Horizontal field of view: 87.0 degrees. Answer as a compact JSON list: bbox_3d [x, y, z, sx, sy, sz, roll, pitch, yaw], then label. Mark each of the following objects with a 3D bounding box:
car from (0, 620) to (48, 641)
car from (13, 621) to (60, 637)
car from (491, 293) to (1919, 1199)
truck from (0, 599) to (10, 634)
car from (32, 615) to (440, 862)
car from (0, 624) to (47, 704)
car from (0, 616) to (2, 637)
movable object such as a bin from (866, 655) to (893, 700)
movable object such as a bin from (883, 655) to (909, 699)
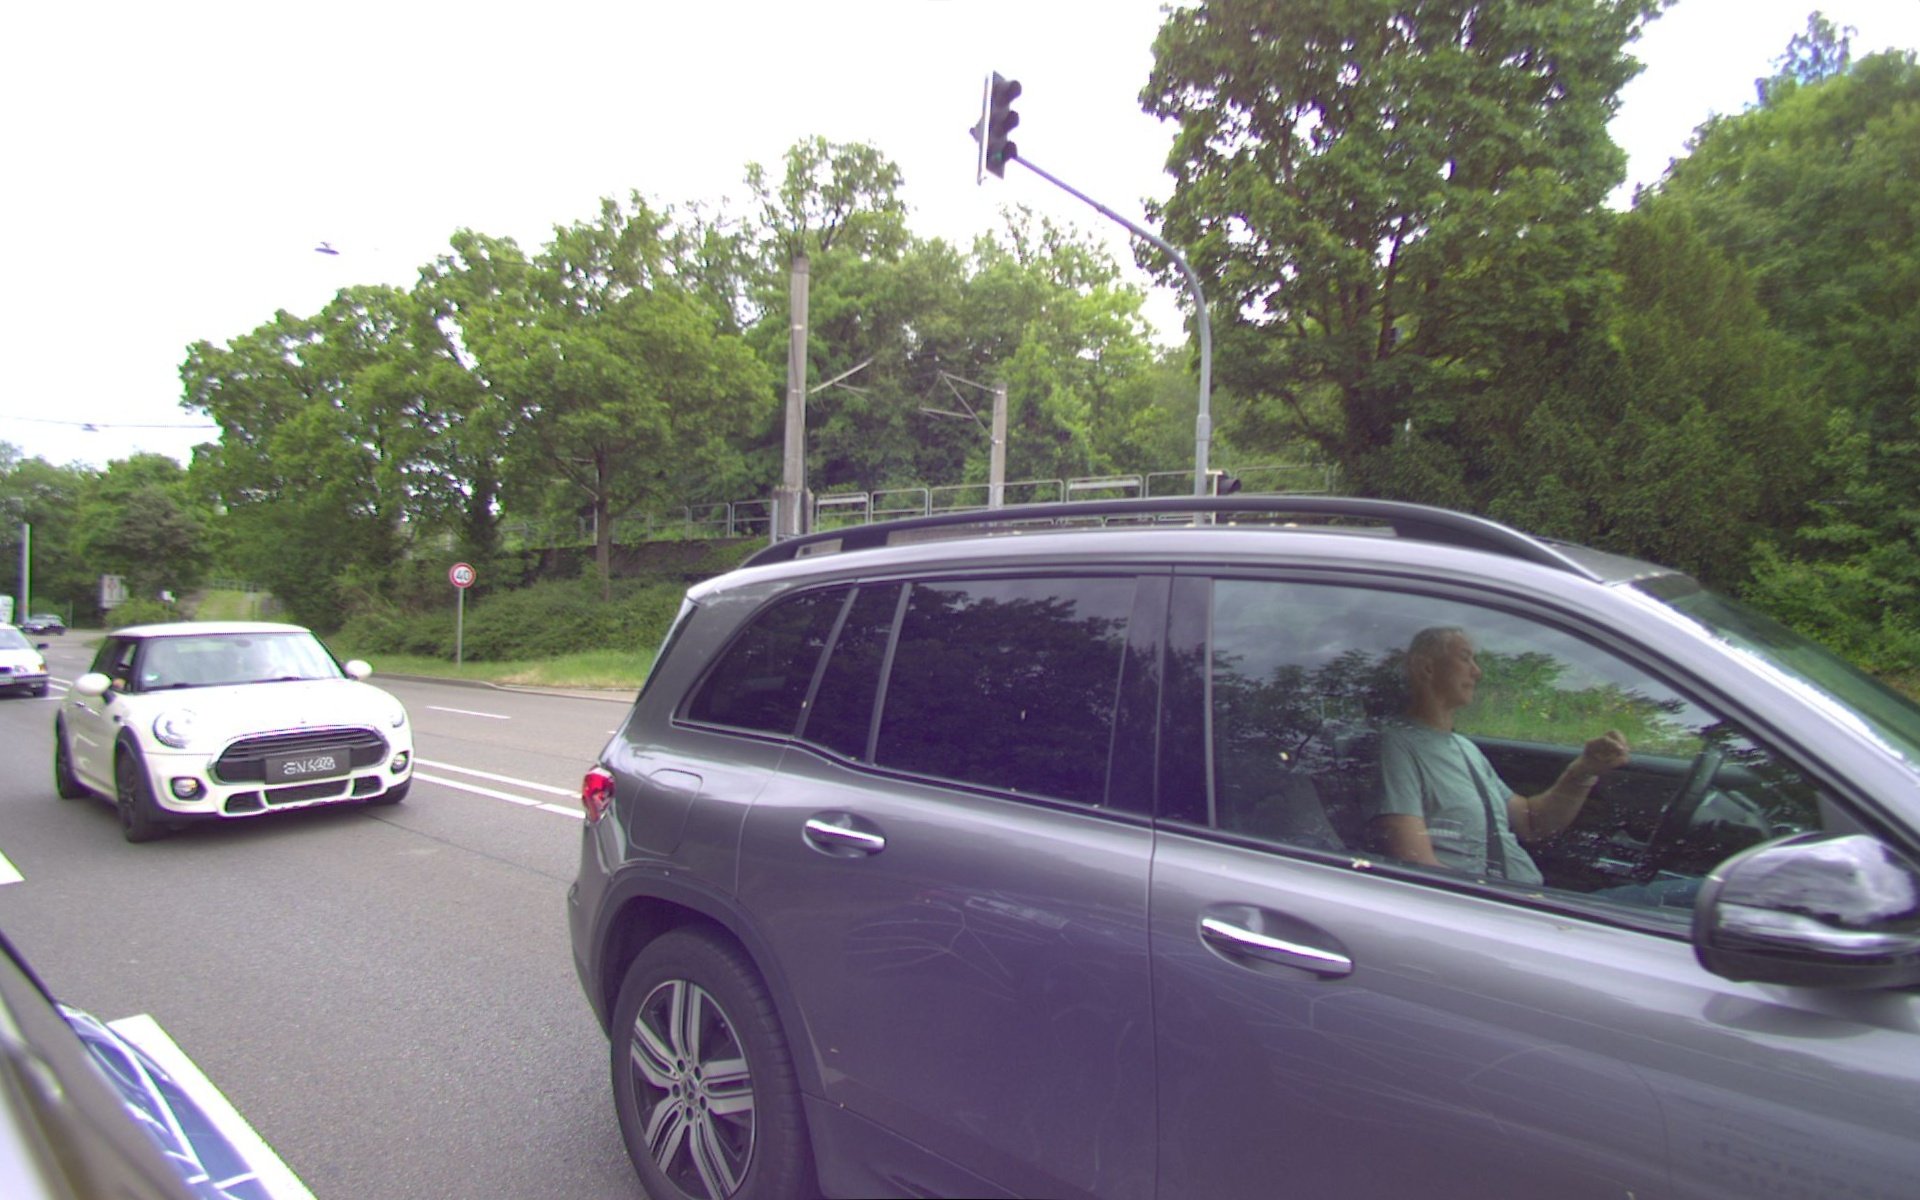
[{"bbox_3d":[-80.564,2.629,87.121,1.823,1.664,4.371,3,-3,-26],"label":"car"},{"bbox_3d":[-89.937,2.849,98.614,1.727,1.372,4.021,4,-4,-15],"label":"car"},{"bbox_3d":[1.009,0.567,1.985,4.353,1.664,1.831,-1,-1,40],"label":"car"},{"bbox_3d":[-86.970,1.373,88.935,2.164,3.180,6.670,2,-3,-17],"label":"truck"},{"bbox_3d":[-5.672,0.848,7.779,3.729,1.434,1.667,-1,-1,40],"label":"car"},{"bbox_3d":[-18.720,1.169,19.092,4.179,1.401,1.643,-1,-1,40],"label":"car"},{"bbox_3d":[-76.106,1.983,78.209,1.823,1.664,4.371,3,-3,-28],"label":"car"},{"bbox_3d":[-1.975,1.892,24.835,0.503,1.071,0.414,-1,-3,36],"label":"movable object such as a bin"},{"bbox_3d":[-1.608,1.914,25.372,0.503,1.071,0.414,-1,-3,36],"label":"movable object such as a bin"}]
